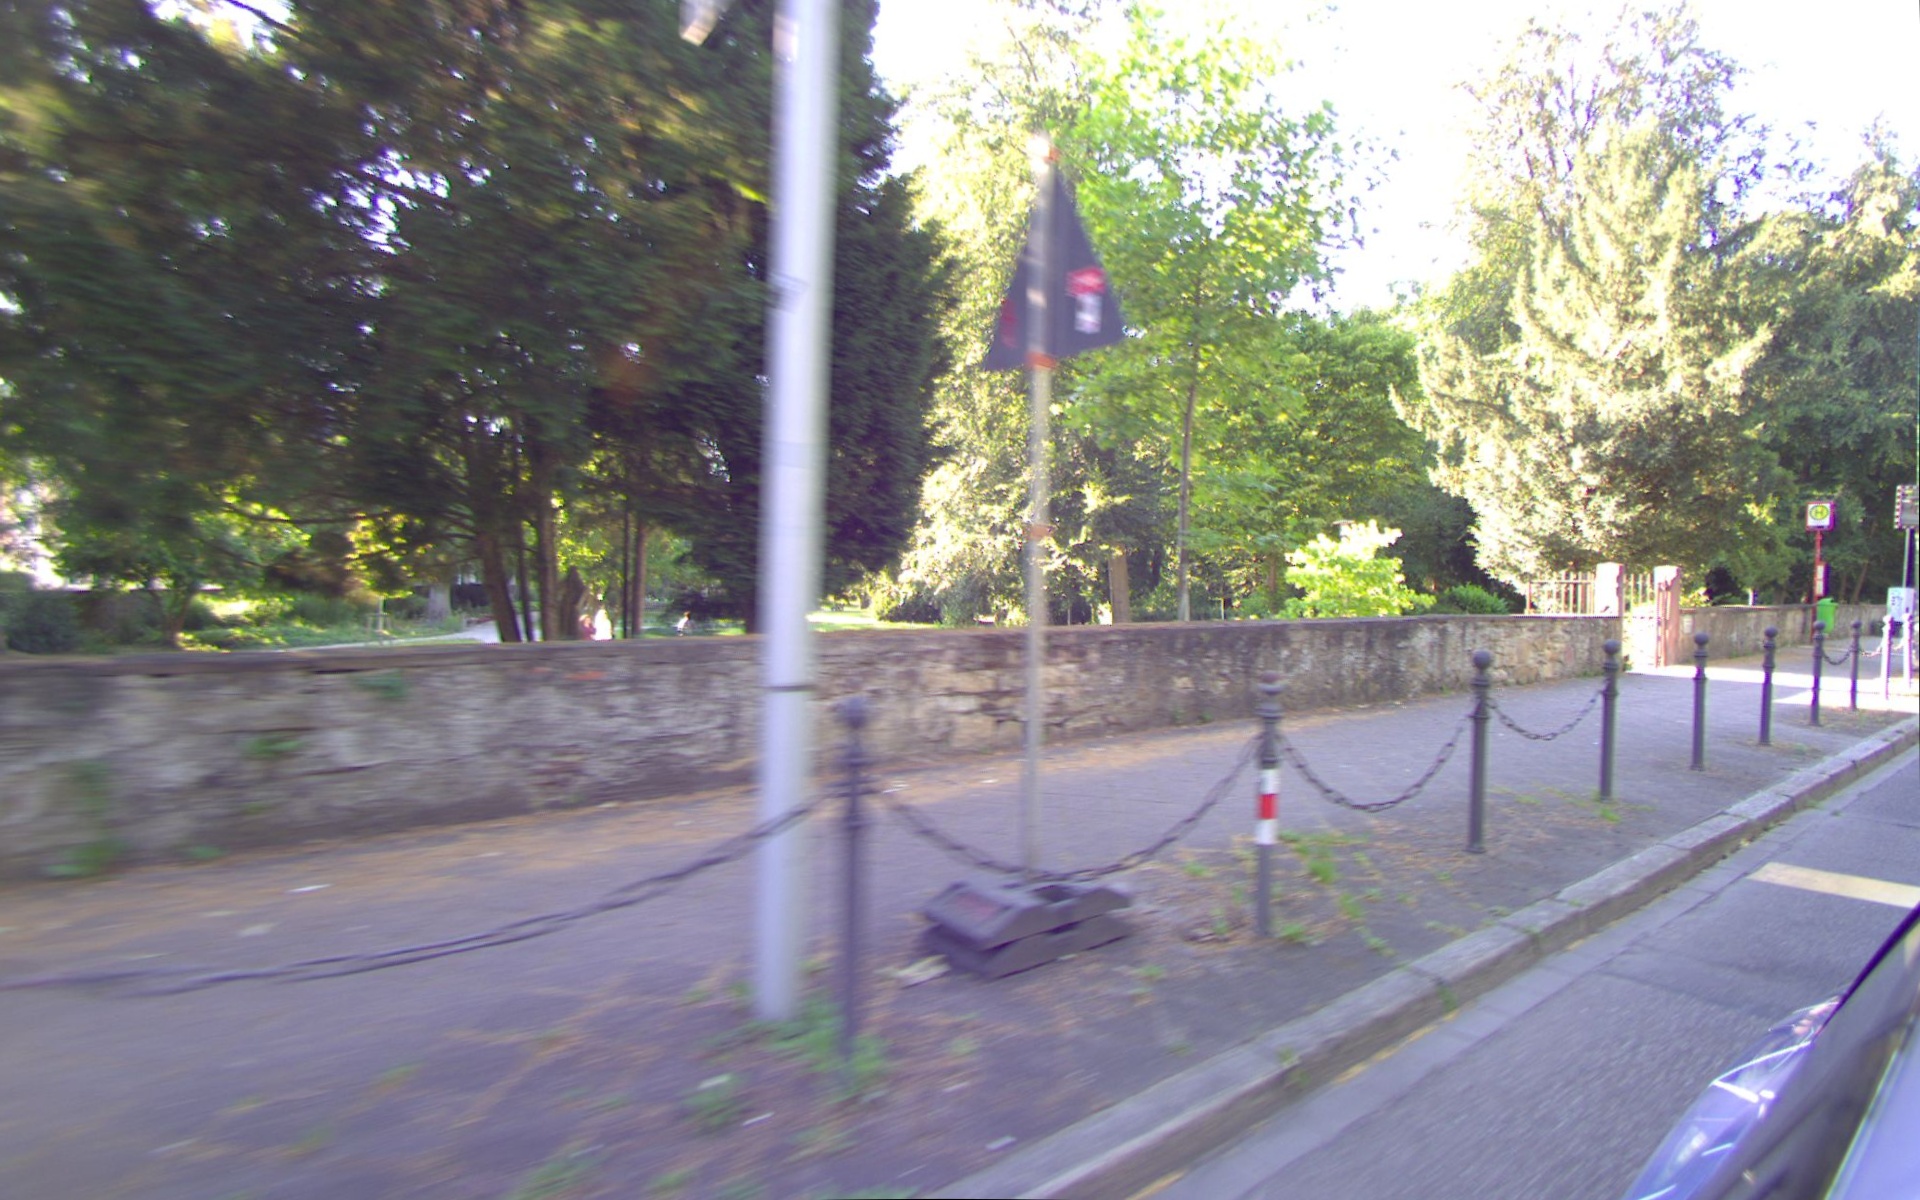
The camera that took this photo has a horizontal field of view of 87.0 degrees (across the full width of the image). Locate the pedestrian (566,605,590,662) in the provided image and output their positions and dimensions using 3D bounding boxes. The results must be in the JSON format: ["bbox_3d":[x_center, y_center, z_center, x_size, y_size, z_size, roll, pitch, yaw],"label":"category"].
[{"bbox_3d":[-11.259,0.969,29.813,0.554,1.639,0.762,-1,-1,-14],"label":"pedestrian"}]

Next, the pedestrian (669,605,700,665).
[{"bbox_3d":[-7.845,0.994,28.814,0.625,1.661,0.616,-1,-1,-38],"label":"pedestrian"}]

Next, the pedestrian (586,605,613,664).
[{"bbox_3d":[-10.896,1.043,30.553,0.587,1.751,0.591,-1,-1,-39],"label":"pedestrian"}]
